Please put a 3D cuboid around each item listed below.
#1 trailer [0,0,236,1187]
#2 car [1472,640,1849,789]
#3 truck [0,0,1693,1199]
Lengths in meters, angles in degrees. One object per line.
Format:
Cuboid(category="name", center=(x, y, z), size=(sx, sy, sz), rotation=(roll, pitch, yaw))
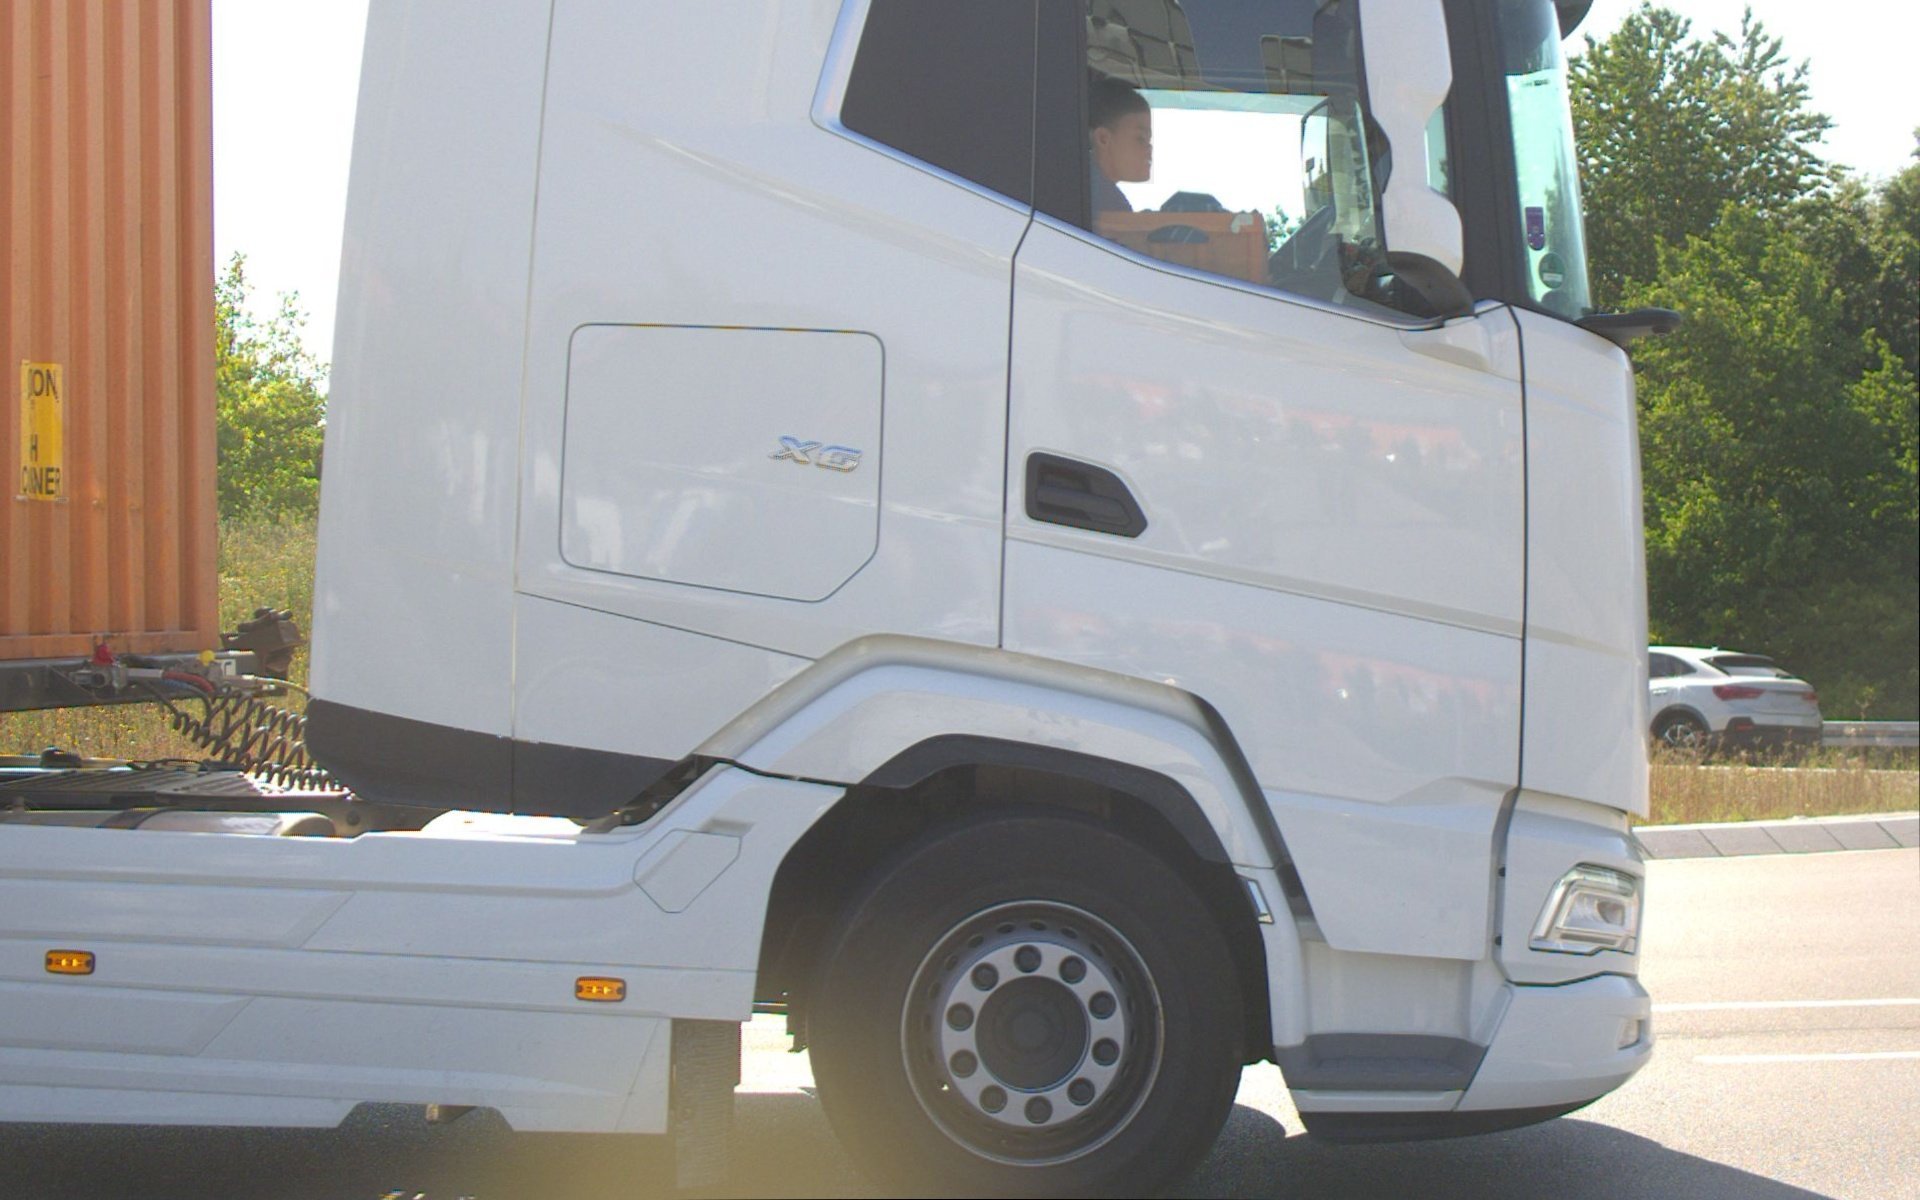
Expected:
Cuboid(category="trailer", center=(-8.421, -0.628, 9.914), size=(12.325, 4.140, 2.560), rotation=(0, 0, 10))
Cuboid(category="car", center=(8.257, 1.322, 40.875), size=(1.841, 1.590, 4.324), rotation=(1, 0, -34))
Cuboid(category="truck", center=(-1.557, -0.583, 8.857), size=(6.414, 4.093, 2.662), rotation=(1, 0, 4))
